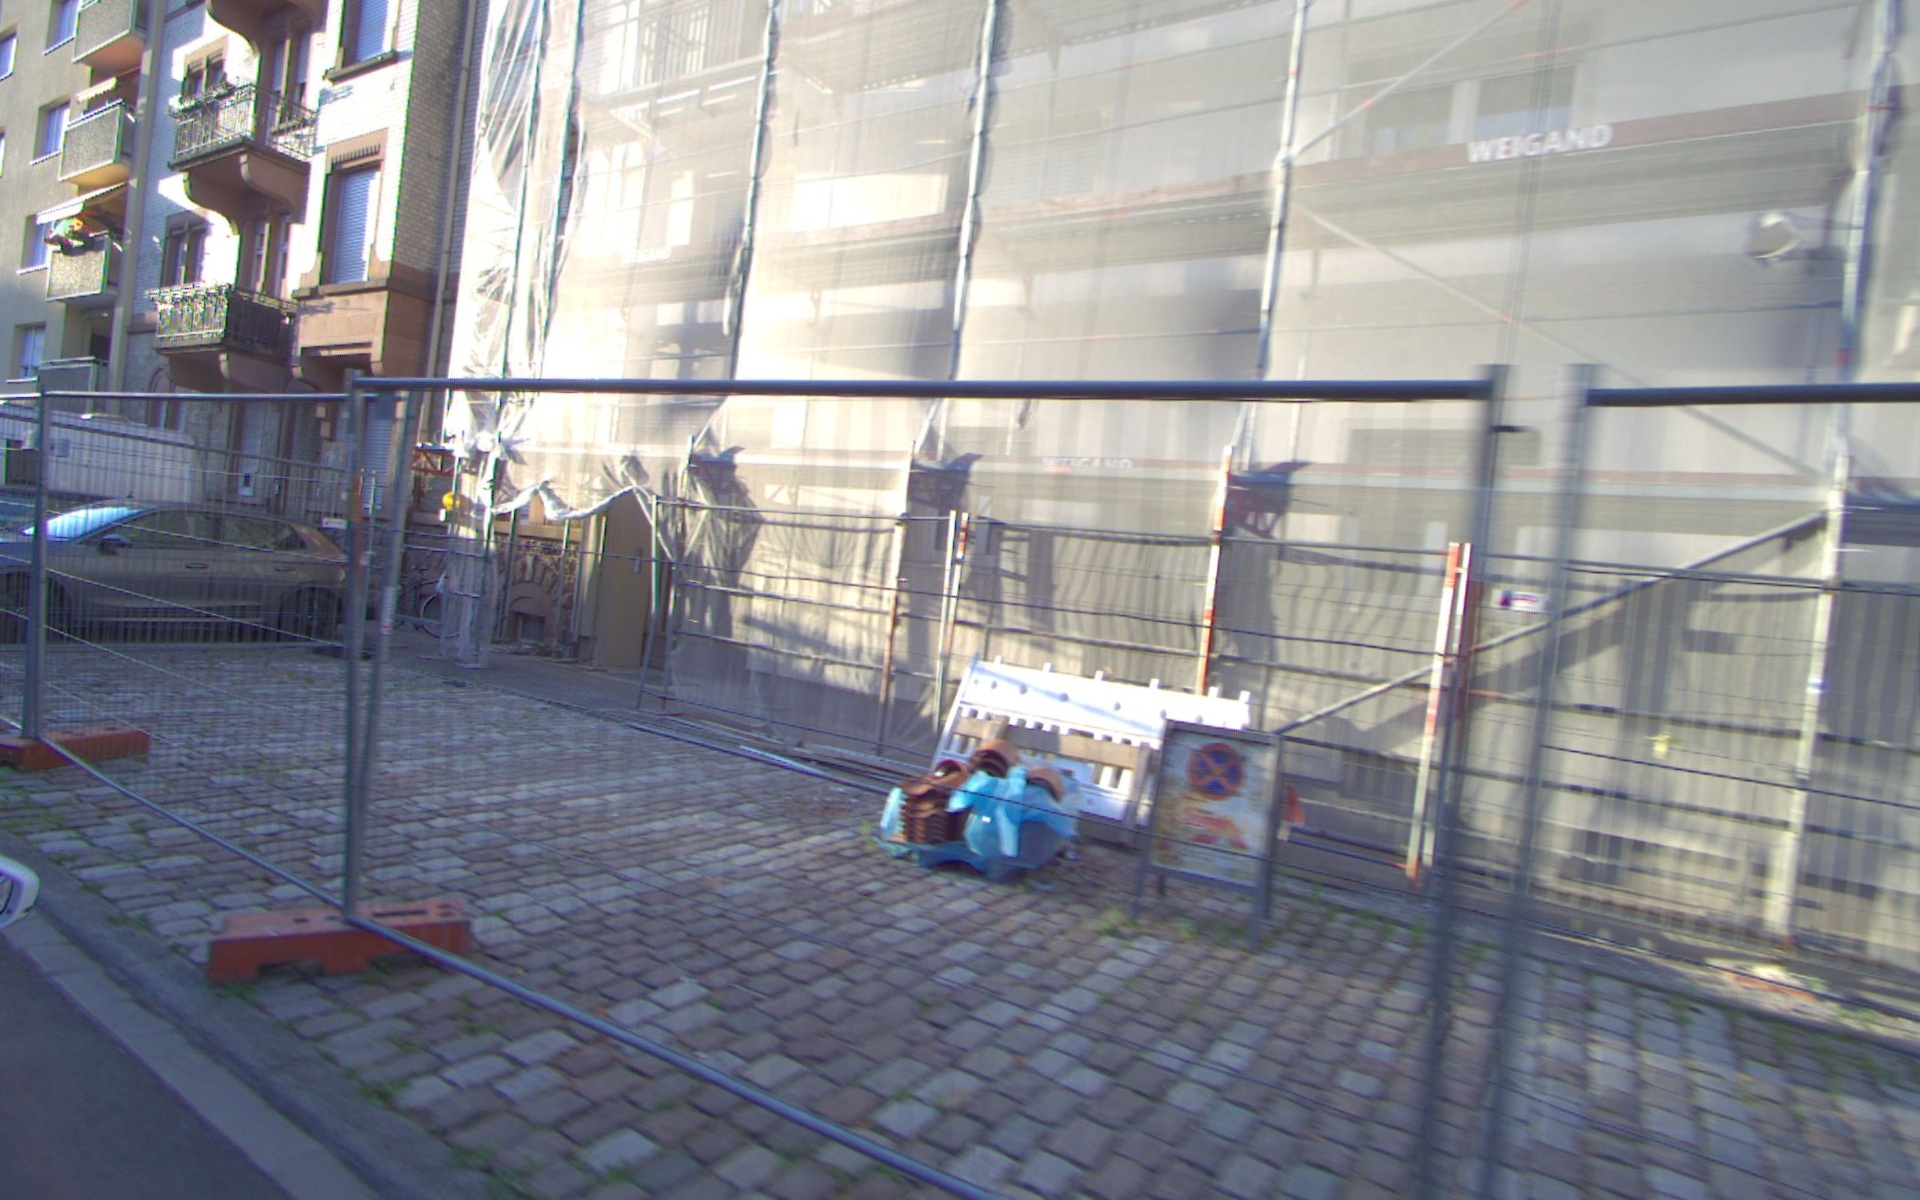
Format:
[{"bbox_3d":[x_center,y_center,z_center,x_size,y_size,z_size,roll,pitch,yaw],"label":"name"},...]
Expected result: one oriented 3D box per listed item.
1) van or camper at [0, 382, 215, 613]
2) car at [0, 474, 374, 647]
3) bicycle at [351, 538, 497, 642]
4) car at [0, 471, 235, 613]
[{"bbox_3d":[-13.724,-1.576,13.084,2.075,2.802,5.939,7,-1,32],"label":"van or camper"},{"bbox_3d":[-8.763,-0.414,10.584,1.984,1.536,3.990,7,2,28],"label":"car"},{"bbox_3d":[-7.411,-0.148,13.887,1.999,1.182,0.632,7,0,27],"label":"bicycle"},{"bbox_3d":[-11.166,-0.716,11.784,1.758,1.505,3.934,5,1,34],"label":"car"}]
